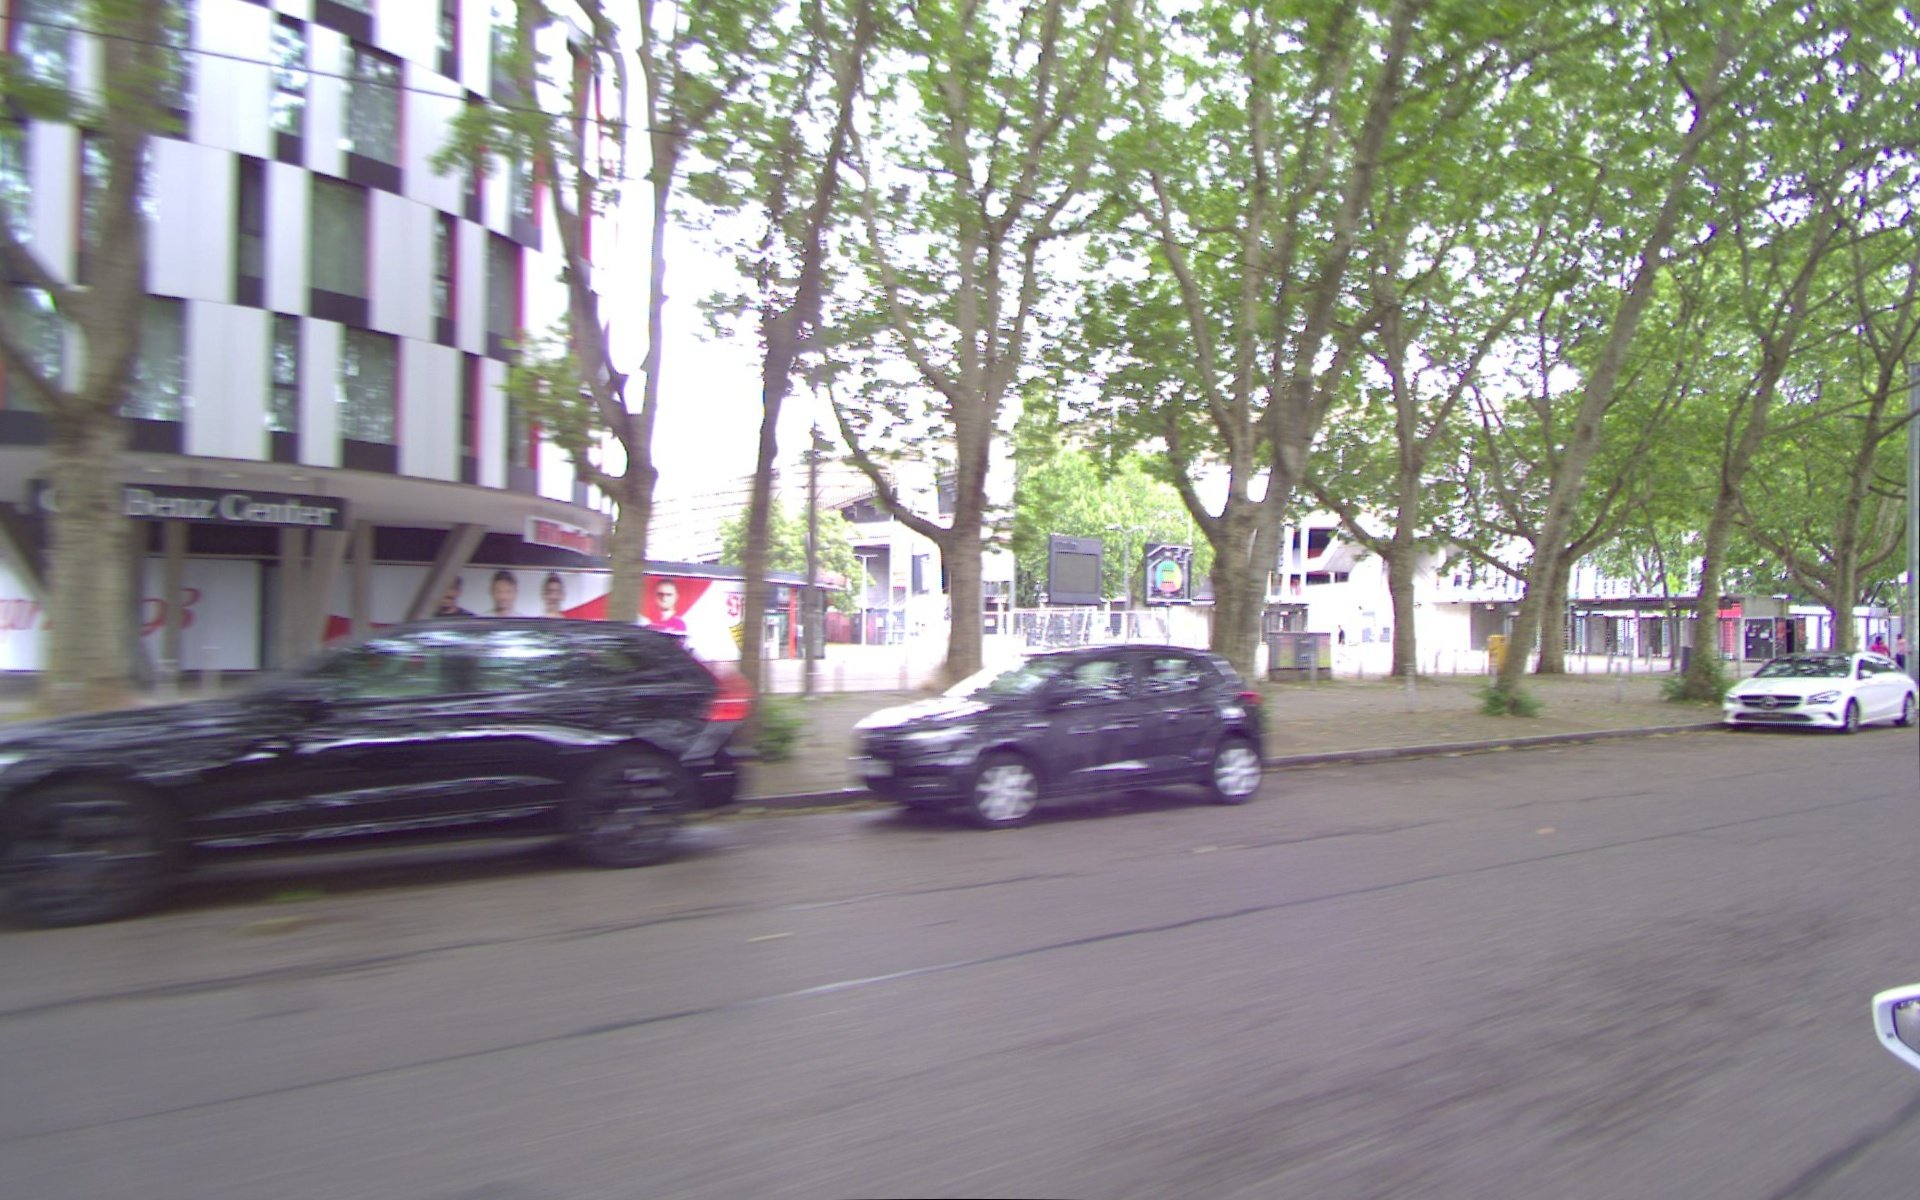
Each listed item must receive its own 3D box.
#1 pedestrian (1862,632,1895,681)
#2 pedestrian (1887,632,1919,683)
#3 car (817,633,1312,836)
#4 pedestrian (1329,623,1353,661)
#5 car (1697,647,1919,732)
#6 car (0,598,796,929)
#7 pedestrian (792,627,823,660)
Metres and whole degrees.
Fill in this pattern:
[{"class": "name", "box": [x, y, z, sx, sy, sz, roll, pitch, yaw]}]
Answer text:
[{"class": "pedestrian", "box": [33.453, 2.056, 36.584, 0.755, 1.765, 0.575, 1, -1, -15]}, {"class": "pedestrian", "box": [33.791, 2.055, 35.951, 0.755, 1.793, 0.577, 1, -1, -15]}, {"class": "car", "box": [1.047, 1.114, 9.424, 4.390, 1.513, 1.825, 1, -5, -30]}, {"class": "pedestrian", "box": [17.468, 1.926, 46.057, 0.798, 1.714, 0.722, 1, -1, -27]}, {"class": "car", "box": [15.967, 1.611, 18.688, 4.696, 1.421, 1.896, 2, -5, -30]}, {"class": "car", "box": [-3.750, 0.926, 6.802, 4.868, 1.664, 1.930, 1, -5, -29]}, {"class": "pedestrian", "box": [-7.017, 1.999, 46.124, 1.099, 1.481, 1.038, 1, -2, -33]}]
